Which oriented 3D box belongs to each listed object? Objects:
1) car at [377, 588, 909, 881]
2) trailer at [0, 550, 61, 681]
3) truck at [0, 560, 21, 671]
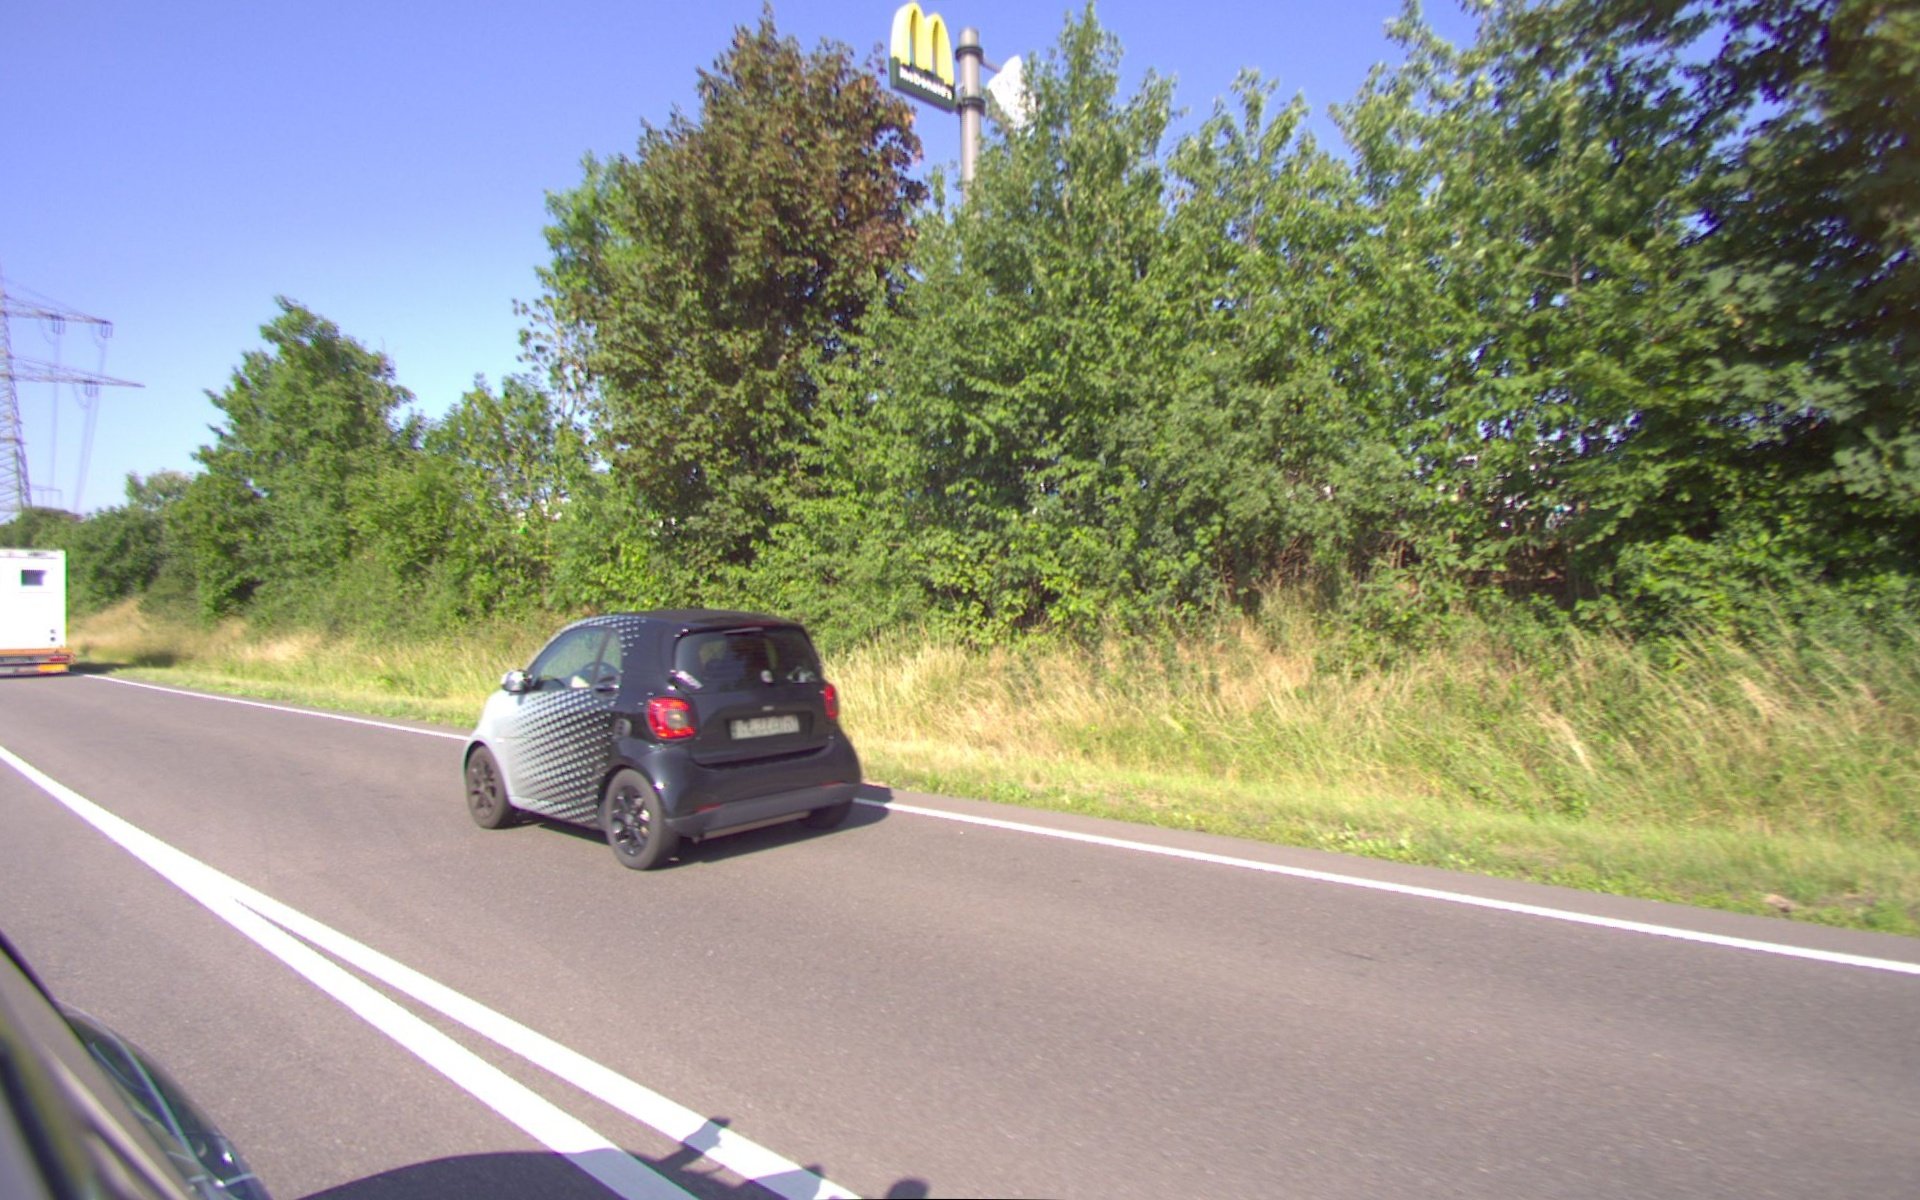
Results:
[{"bbox_3d":[-2.471,0.777,7.428,3.995,1.571,1.838,-2,-2,39],"label":"car"},{"bbox_3d":[-29.678,0.503,30.772,8.288,3.623,2.533,-2,-1,41],"label":"trailer"},{"bbox_3d":[-36.733,0.628,36.983,10.482,3.716,2.533,-2,-1,41],"label":"truck"}]
